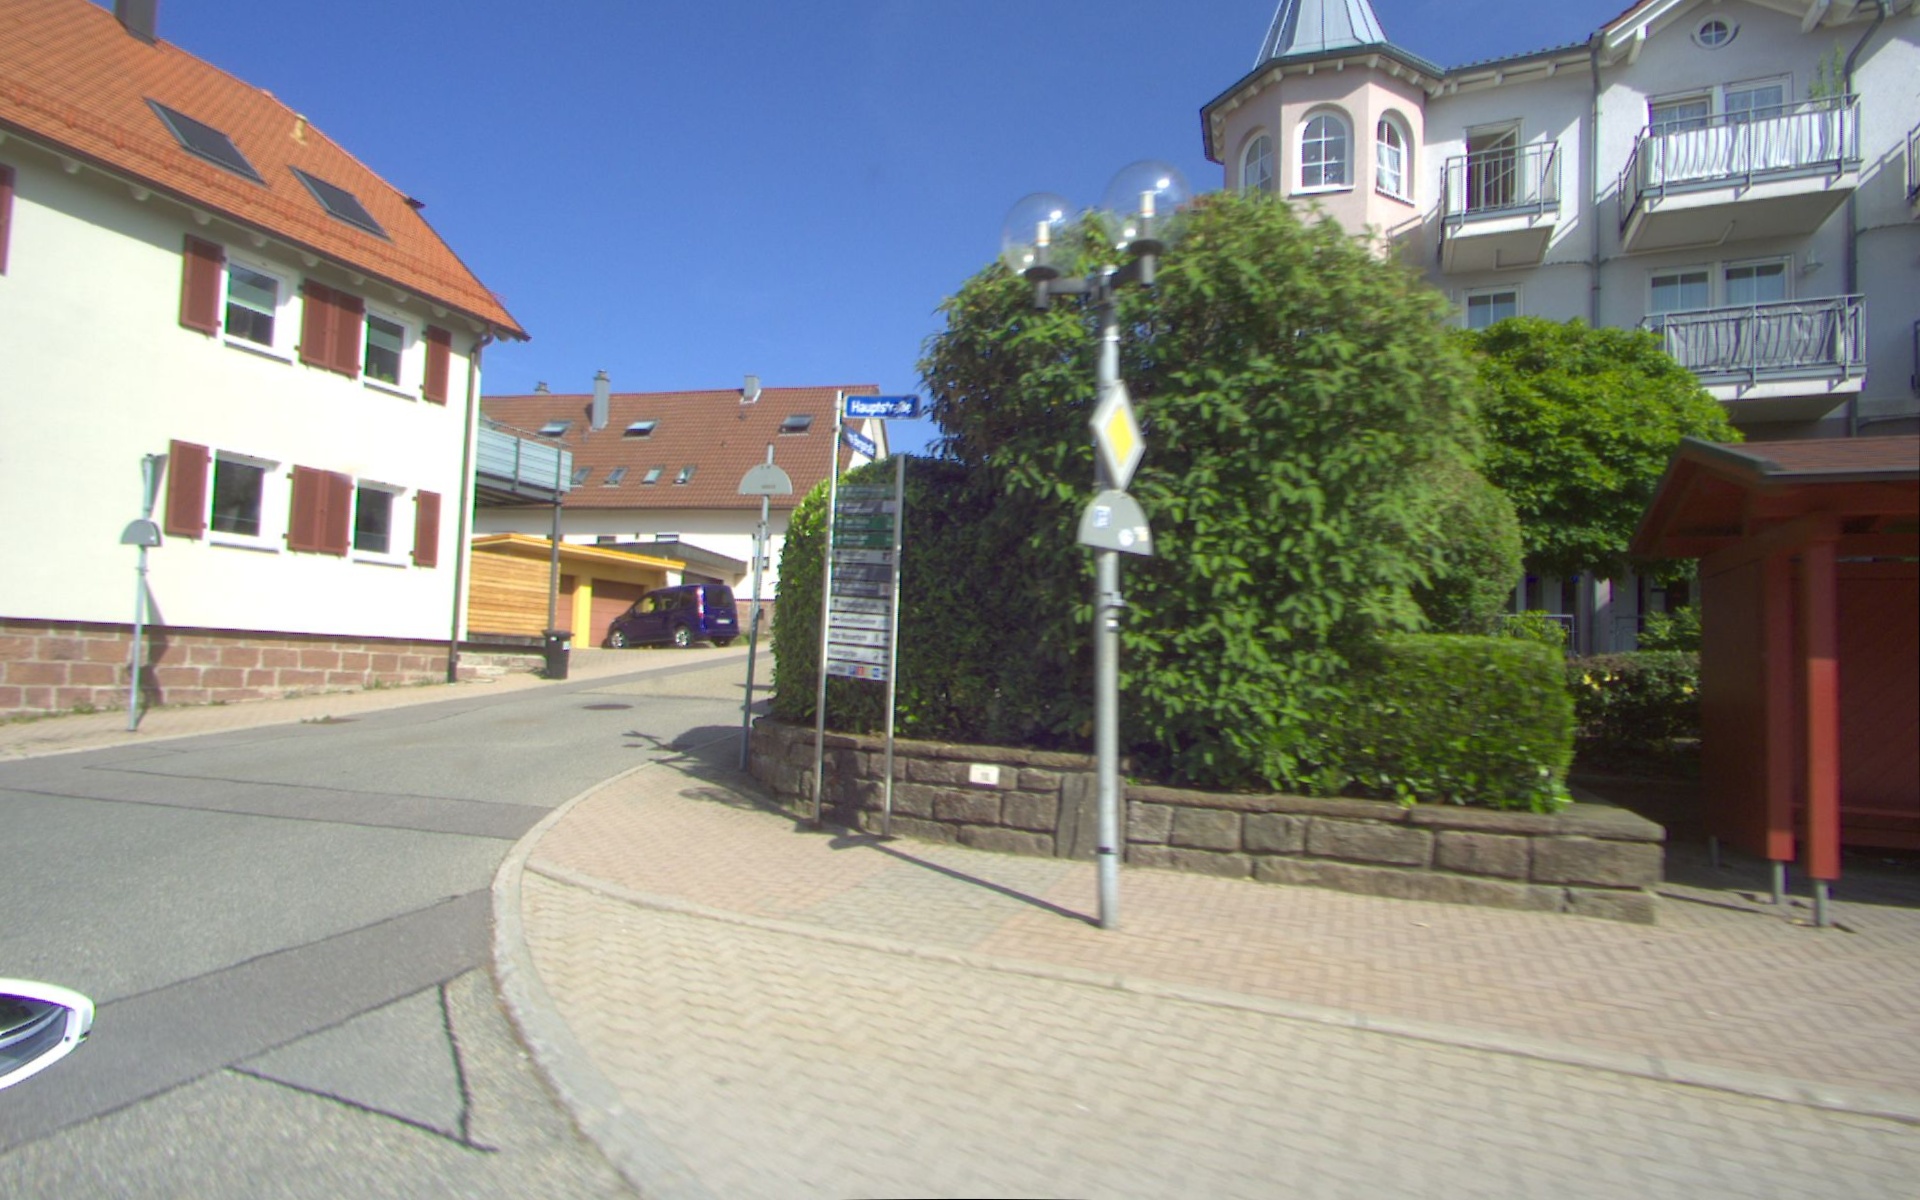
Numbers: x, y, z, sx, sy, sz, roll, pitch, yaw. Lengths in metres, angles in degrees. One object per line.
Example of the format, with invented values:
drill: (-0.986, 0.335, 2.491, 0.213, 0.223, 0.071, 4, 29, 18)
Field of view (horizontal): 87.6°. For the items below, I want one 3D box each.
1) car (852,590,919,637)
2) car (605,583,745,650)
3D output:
car: (-2.904, 0.555, 39.596, 1.591, 1.702, 3.484, 2, -1, 14)
car: (-8.539, 0.462, 29.998, 3.937, 1.889, 1.725, 0, 0, 27)
